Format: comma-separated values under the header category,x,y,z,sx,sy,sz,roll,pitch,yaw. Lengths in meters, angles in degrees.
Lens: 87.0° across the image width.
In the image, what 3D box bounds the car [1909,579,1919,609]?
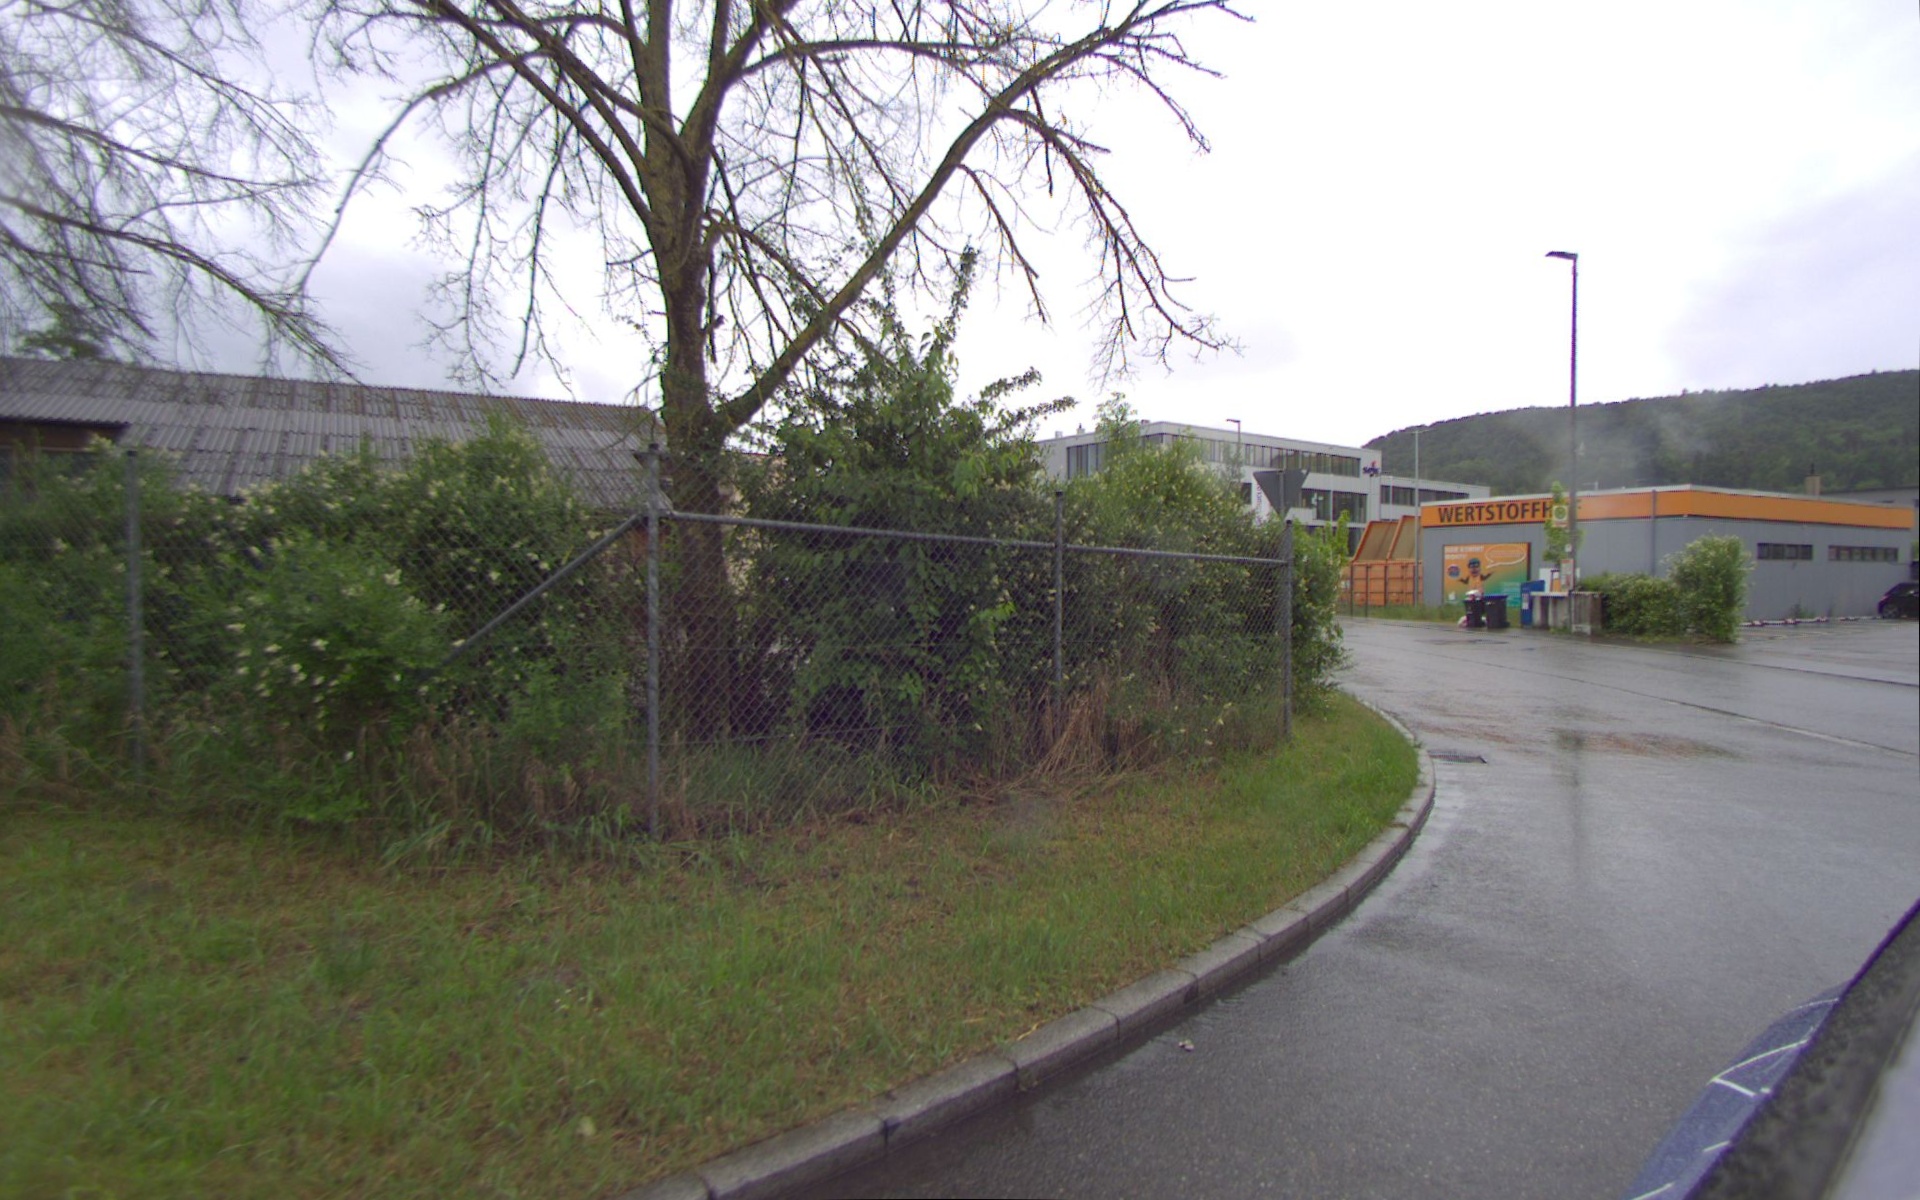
category,x,y,z,sx,sy,sz,roll,pitch,yaw
car,39.423,-0.192,38.687,1.892,1.175,4.206,0,1,-15

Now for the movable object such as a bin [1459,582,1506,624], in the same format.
category,x,y,z,sx,sy,sz,roll,pitch,yaw
movable object such as a bin,16.706,0.085,32.368,0.963,1.339,1.002,0,1,1

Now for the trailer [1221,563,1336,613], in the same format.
category,x,y,z,sx,sy,sz,roll,pitch,yaw
trailer,14.276,-0.574,45.893,2.525,2.038,6.645,-1,1,-6

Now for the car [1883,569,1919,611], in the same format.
category,x,y,z,sx,sy,sz,roll,pitch,yaw
car,37.138,-0.361,37.531,1.885,1.594,4.006,0,1,-8

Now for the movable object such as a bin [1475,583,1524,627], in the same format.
category,x,y,z,sx,sy,sz,roll,pitch,yaw
movable object such as a bin,16.690,0.135,31.351,0.963,1.339,1.002,0,1,1
